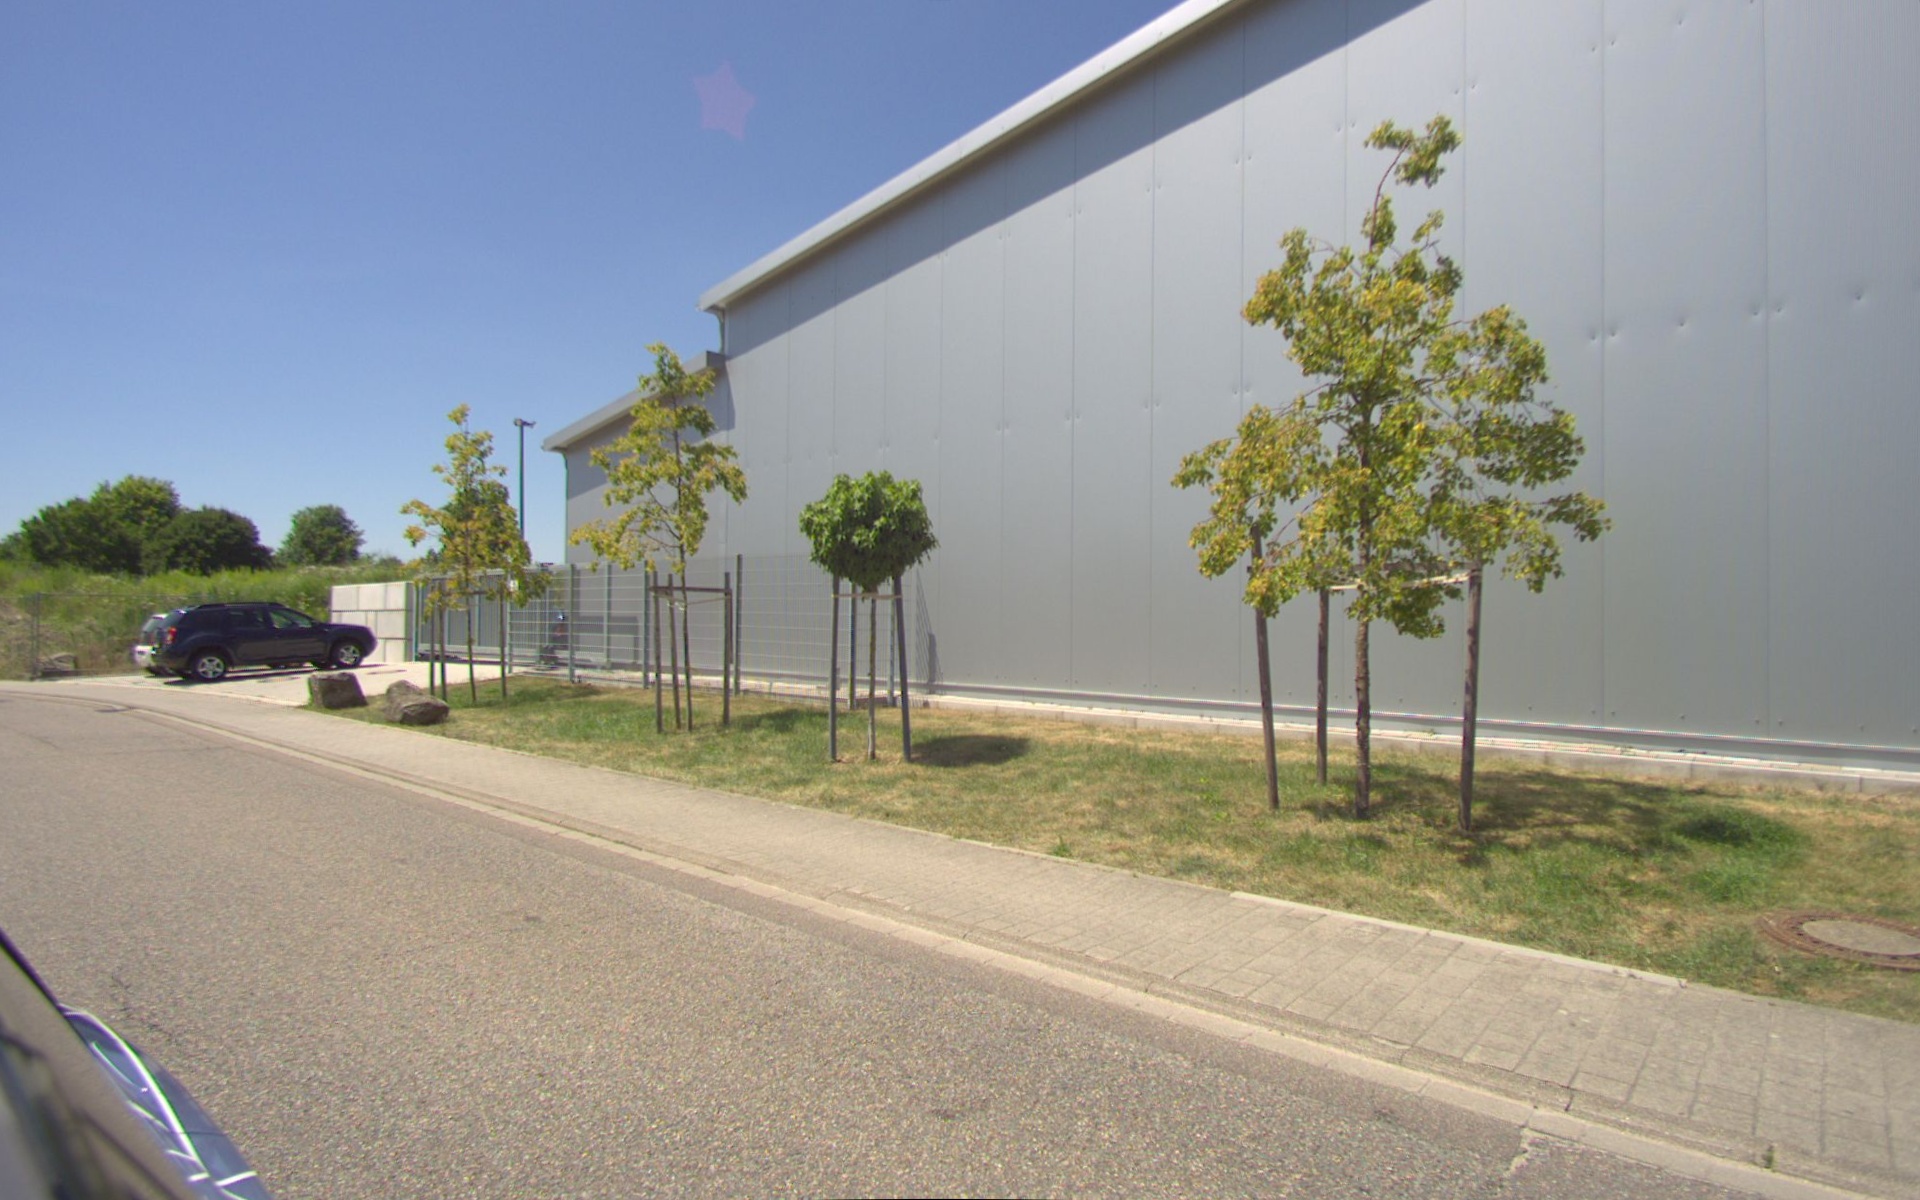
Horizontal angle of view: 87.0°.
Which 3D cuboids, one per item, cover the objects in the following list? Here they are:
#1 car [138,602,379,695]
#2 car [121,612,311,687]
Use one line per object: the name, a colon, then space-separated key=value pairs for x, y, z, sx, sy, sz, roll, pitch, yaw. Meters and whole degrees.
car: x=-15.779 y=1.005 z=22.923 sx=1.781 sy=1.671 sz=4.120 roll=-1 pitch=3 yaw=41
car: x=-17.953 y=1.121 z=24.507 sx=1.780 sy=1.472 sz=3.328 roll=-1 pitch=3 yaw=39
